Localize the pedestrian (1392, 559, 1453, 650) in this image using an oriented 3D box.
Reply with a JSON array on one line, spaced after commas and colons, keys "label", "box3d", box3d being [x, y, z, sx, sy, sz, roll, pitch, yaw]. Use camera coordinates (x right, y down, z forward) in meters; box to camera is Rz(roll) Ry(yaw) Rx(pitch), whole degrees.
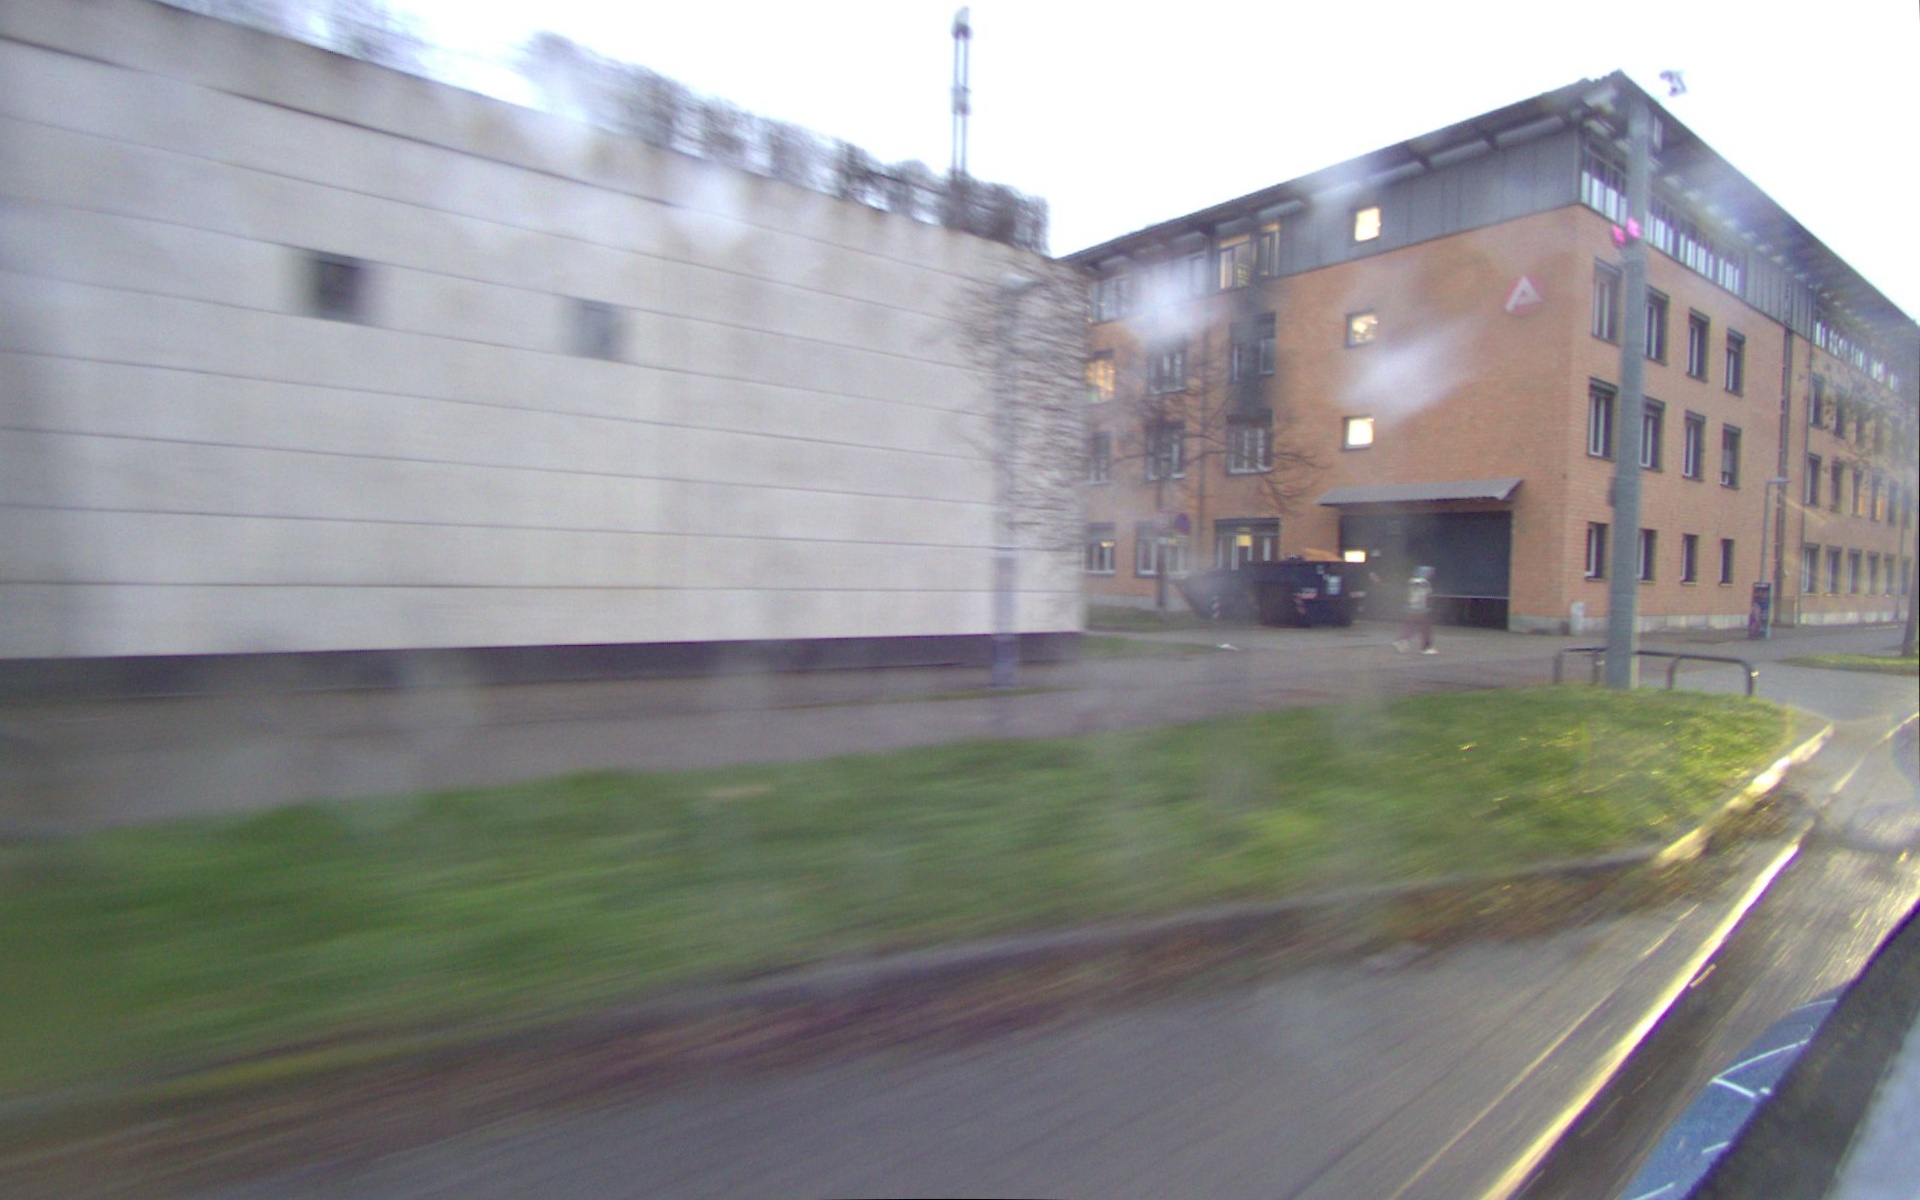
[{"label": "pedestrian", "box3d": [8.605, 0.076, 18.821, 1.048, 1.630, 0.622, 0, 2, -41]}]
